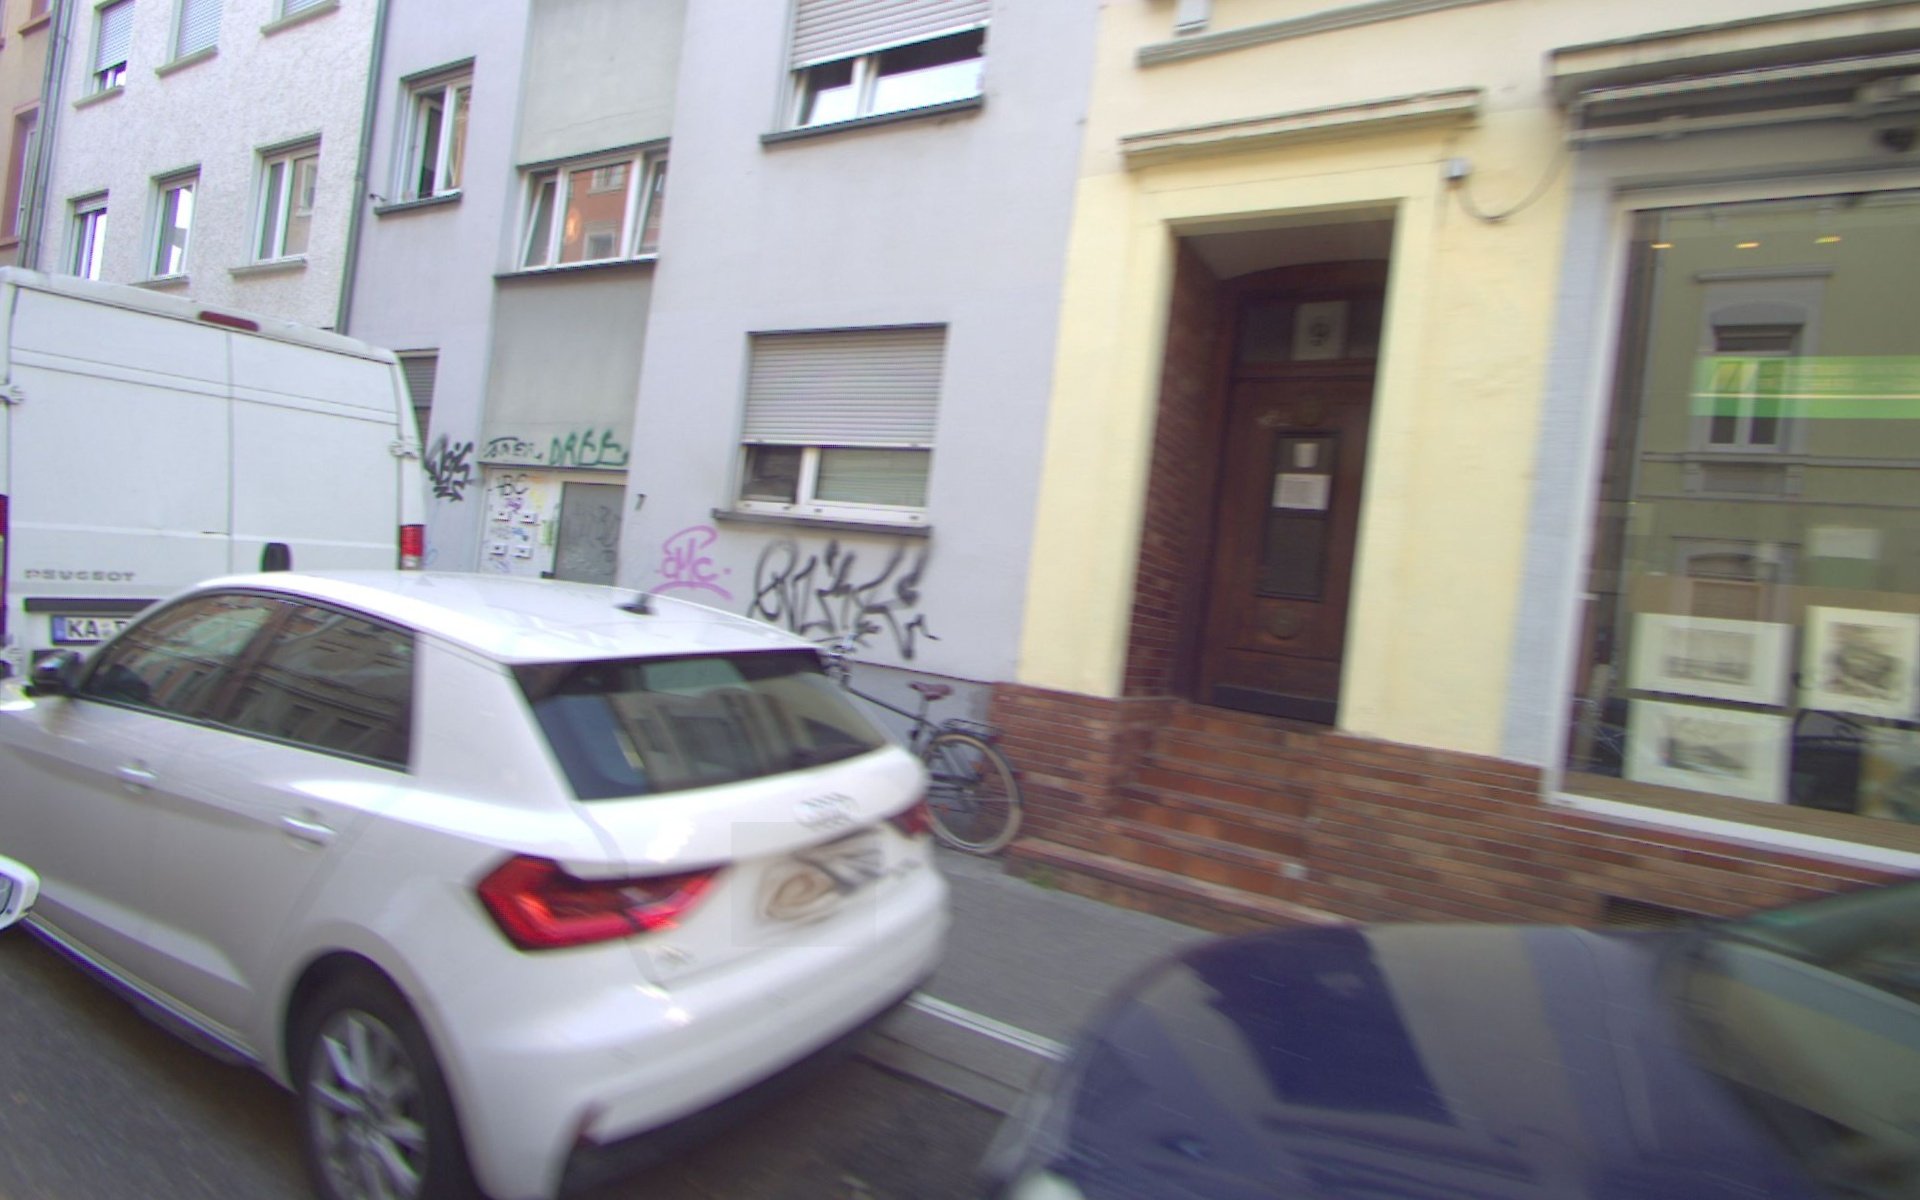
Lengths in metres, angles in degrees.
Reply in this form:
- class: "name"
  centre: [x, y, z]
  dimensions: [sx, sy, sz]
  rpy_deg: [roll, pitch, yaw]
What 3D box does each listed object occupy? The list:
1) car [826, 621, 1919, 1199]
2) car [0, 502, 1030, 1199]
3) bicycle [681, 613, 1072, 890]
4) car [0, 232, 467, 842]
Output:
- class: "car"
  centre: [2.249, 1.062, 1.185]
  dimensions: [4.523, 1.498, 1.815]
  rpy_deg: [8, 2, 22]
- class: "car"
  centre: [-1.896, 0.581, 3.471]
  dimensions: [3.767, 1.447, 1.728]
  rpy_deg: [7, 0, 30]
- class: "bicycle"
  centre: [-0.569, 0.791, 5.989]
  dimensions: [2.313, 1.174, 0.628]
  rpy_deg: [7, 3, 32]
- class: "car"
  centre: [-6.092, -0.461, 6.612]
  dimensions: [5.938, 2.582, 2.207]
  rpy_deg: [7, 0, 33]
